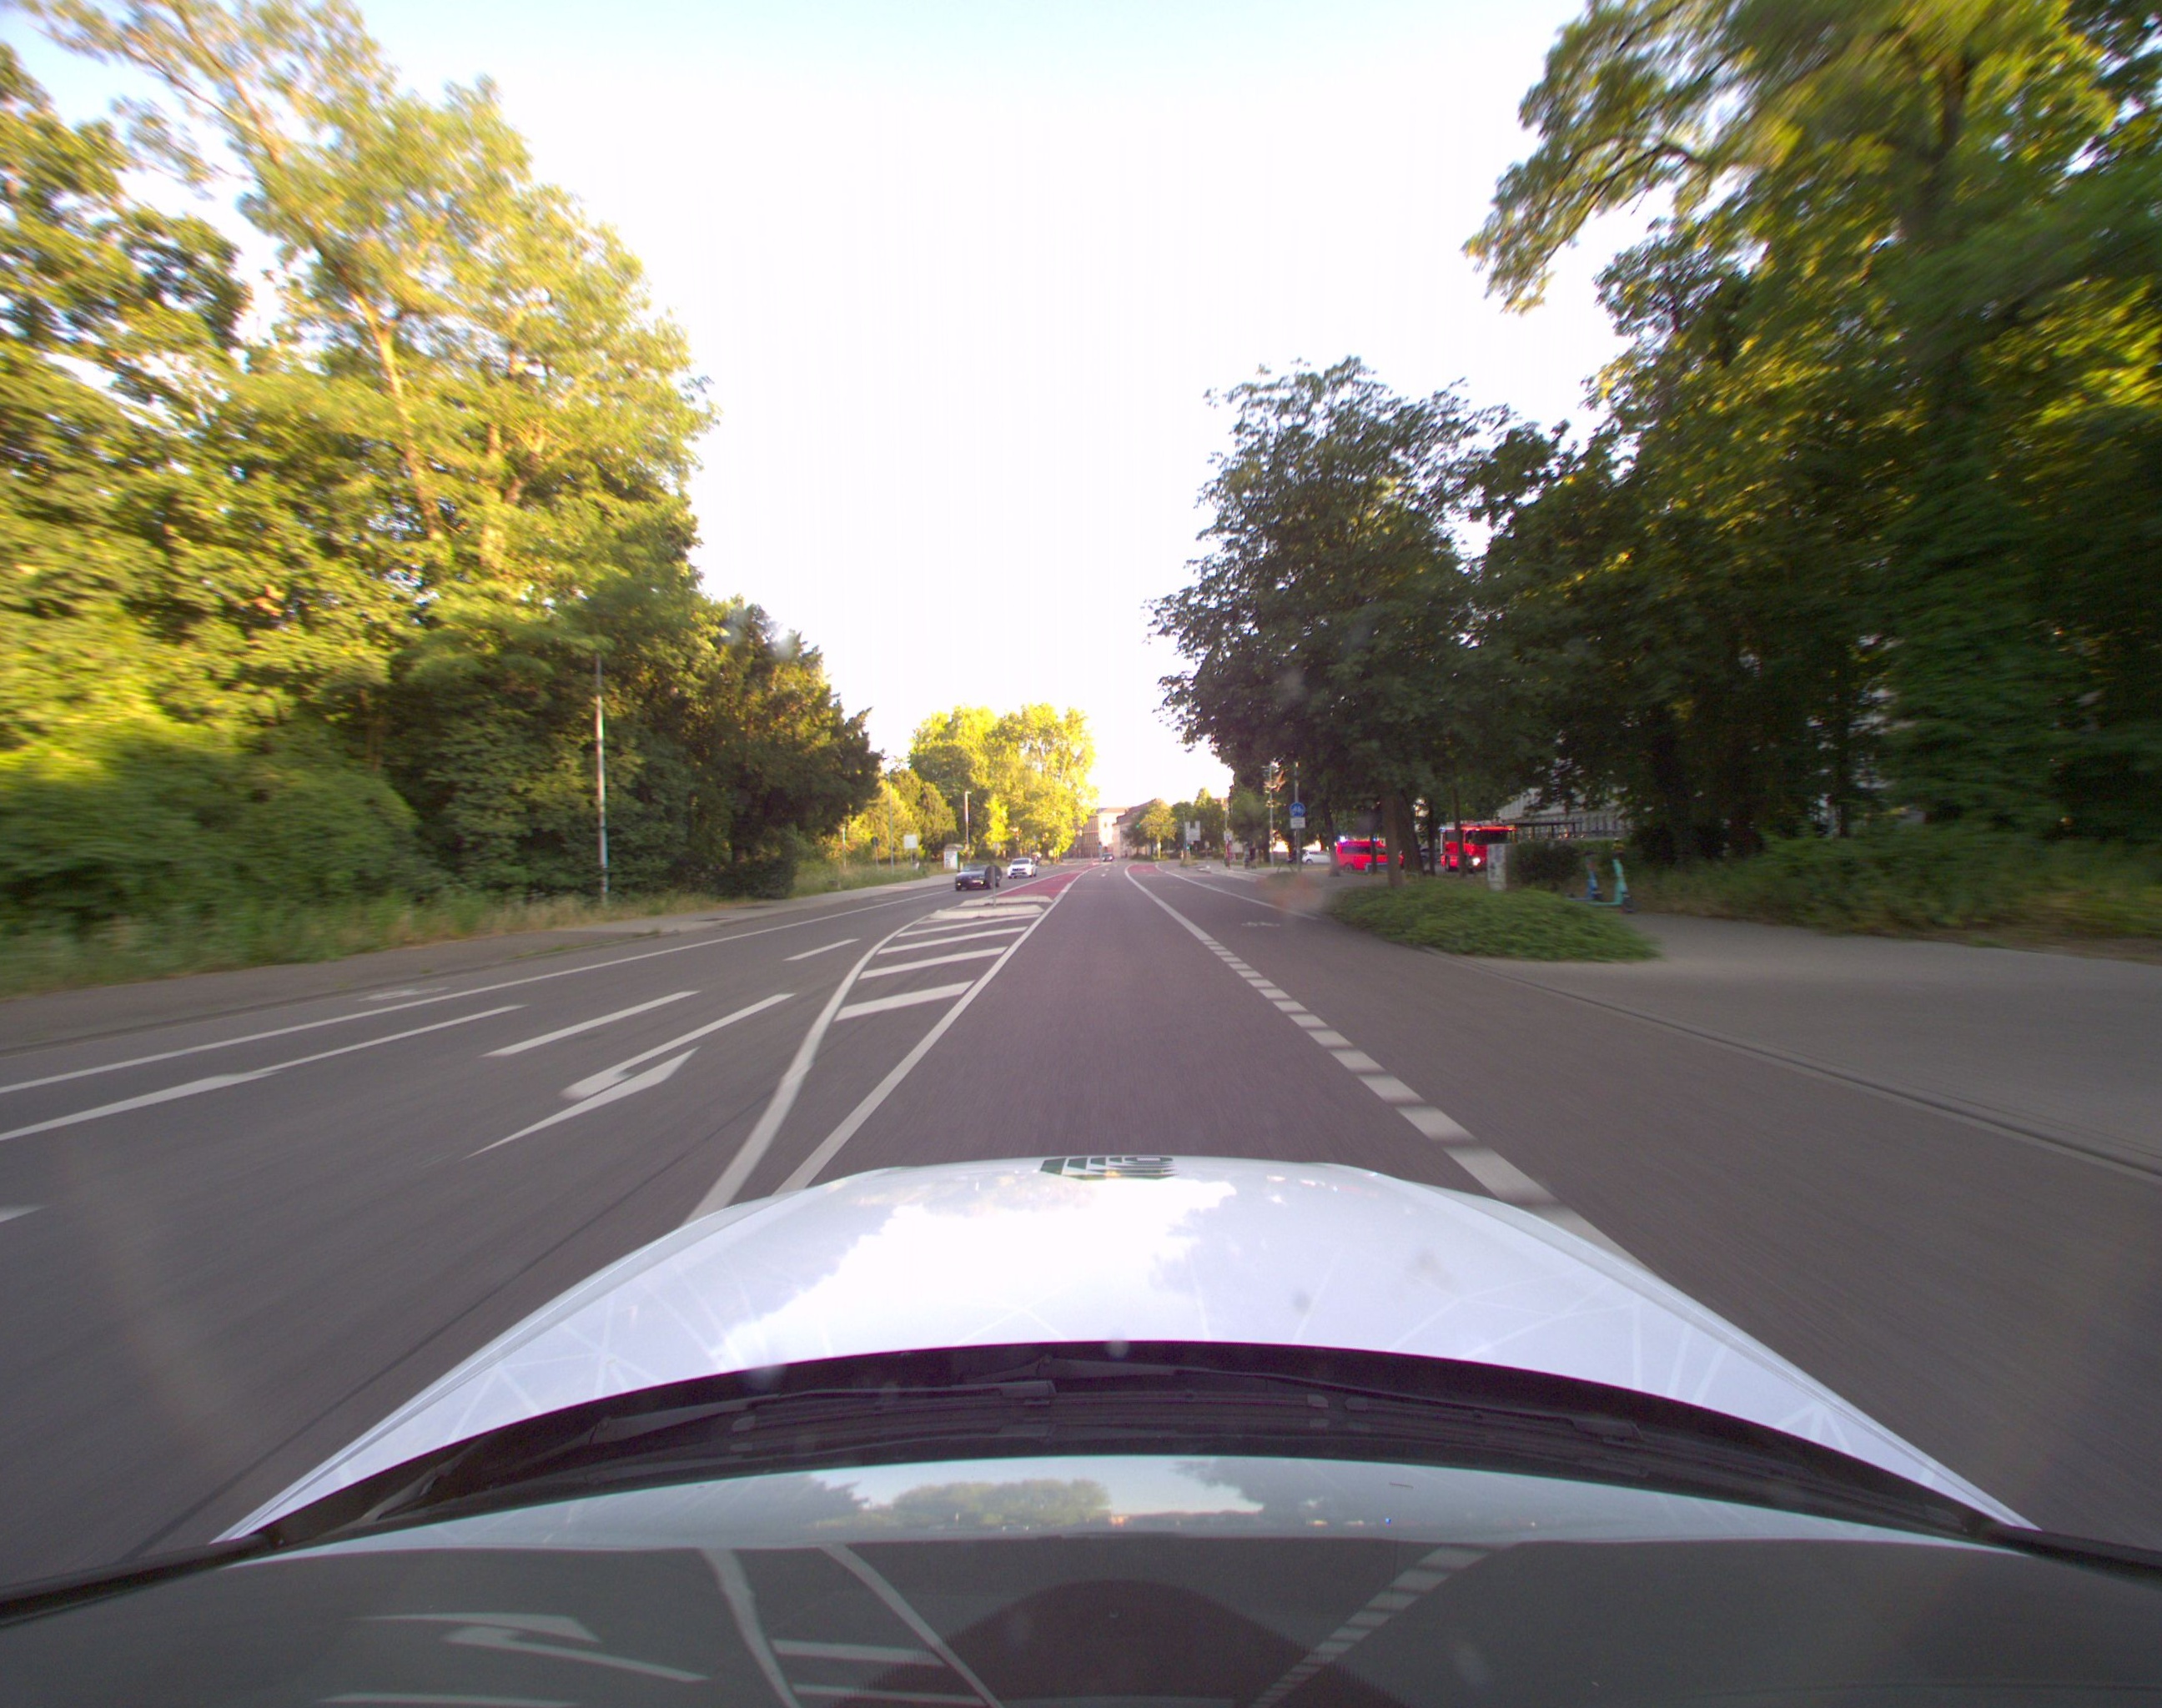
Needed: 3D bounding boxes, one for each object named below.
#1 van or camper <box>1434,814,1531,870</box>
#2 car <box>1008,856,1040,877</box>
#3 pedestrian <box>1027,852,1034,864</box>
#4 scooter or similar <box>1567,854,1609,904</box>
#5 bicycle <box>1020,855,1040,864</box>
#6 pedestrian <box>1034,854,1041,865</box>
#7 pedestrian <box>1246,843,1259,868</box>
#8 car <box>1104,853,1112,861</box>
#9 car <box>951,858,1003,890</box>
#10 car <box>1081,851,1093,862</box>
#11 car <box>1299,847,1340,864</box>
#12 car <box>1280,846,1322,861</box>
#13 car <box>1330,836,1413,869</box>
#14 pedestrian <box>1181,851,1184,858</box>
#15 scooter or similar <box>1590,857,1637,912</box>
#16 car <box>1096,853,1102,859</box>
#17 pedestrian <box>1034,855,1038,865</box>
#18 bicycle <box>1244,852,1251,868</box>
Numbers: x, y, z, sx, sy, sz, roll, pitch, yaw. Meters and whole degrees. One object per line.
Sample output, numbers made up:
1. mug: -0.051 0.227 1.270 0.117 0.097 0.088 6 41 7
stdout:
1. van or camper: 24.879 -0.718 50.993 3.415 3.199 8.257 0 0 11
2. car: -4.165 0.912 60.134 1.790 1.453 4.131 -2 0 4
3. pedestrian: -6.813 0.508 109.018 0.786 1.580 0.748 0 0 10
4. scooter or similar: 10.957 0.528 17.617 0.309 1.041 0.981 -2 0 2
5. bicycle: -6.809 0.738 108.985 2.447 1.195 0.759 -2 0 11
6. pedestrian: -6.143 0.788 115.898 0.786 1.580 0.748 0 0 10
7. pedestrian: 12.460 0.118 59.188 0.766 1.740 0.732 -2 0 2
8. car: 5.105 0.499 154.648 1.487 1.486 3.492 -2 0 2
9. car: -5.131 0.946 40.753 1.790 1.453 4.131 -2 0 4
10. car: 0.870 0.341 109.701 1.487 1.486 3.493 -2 0 2
11. car: 24.255 0.119 82.807 3.751 1.590 1.720 -2 0 9
12. car: 24.943 -0.069 92.292 4.433 1.590 1.720 -2 0 9
13. car: 19.234 -0.102 54.162 4.882 1.990 1.927 -2 0 9
14. pedestrian: 17.886 0.166 143.380 0.389 1.238 0.404 -2 0 2
15. scooter or similar: 10.624 0.596 16.272 0.309 1.041 0.981 -2 0 2
16. car: 4.594 0.557 210.025 1.487 1.486 3.492 -2 0 2
17. pedestrian: -6.273 0.851 113.751 0.579 1.430 0.559 0 0 -7
18. bicycle: 12.103 0.419 59.151 0.298 1.099 1.523 -2 0 3
